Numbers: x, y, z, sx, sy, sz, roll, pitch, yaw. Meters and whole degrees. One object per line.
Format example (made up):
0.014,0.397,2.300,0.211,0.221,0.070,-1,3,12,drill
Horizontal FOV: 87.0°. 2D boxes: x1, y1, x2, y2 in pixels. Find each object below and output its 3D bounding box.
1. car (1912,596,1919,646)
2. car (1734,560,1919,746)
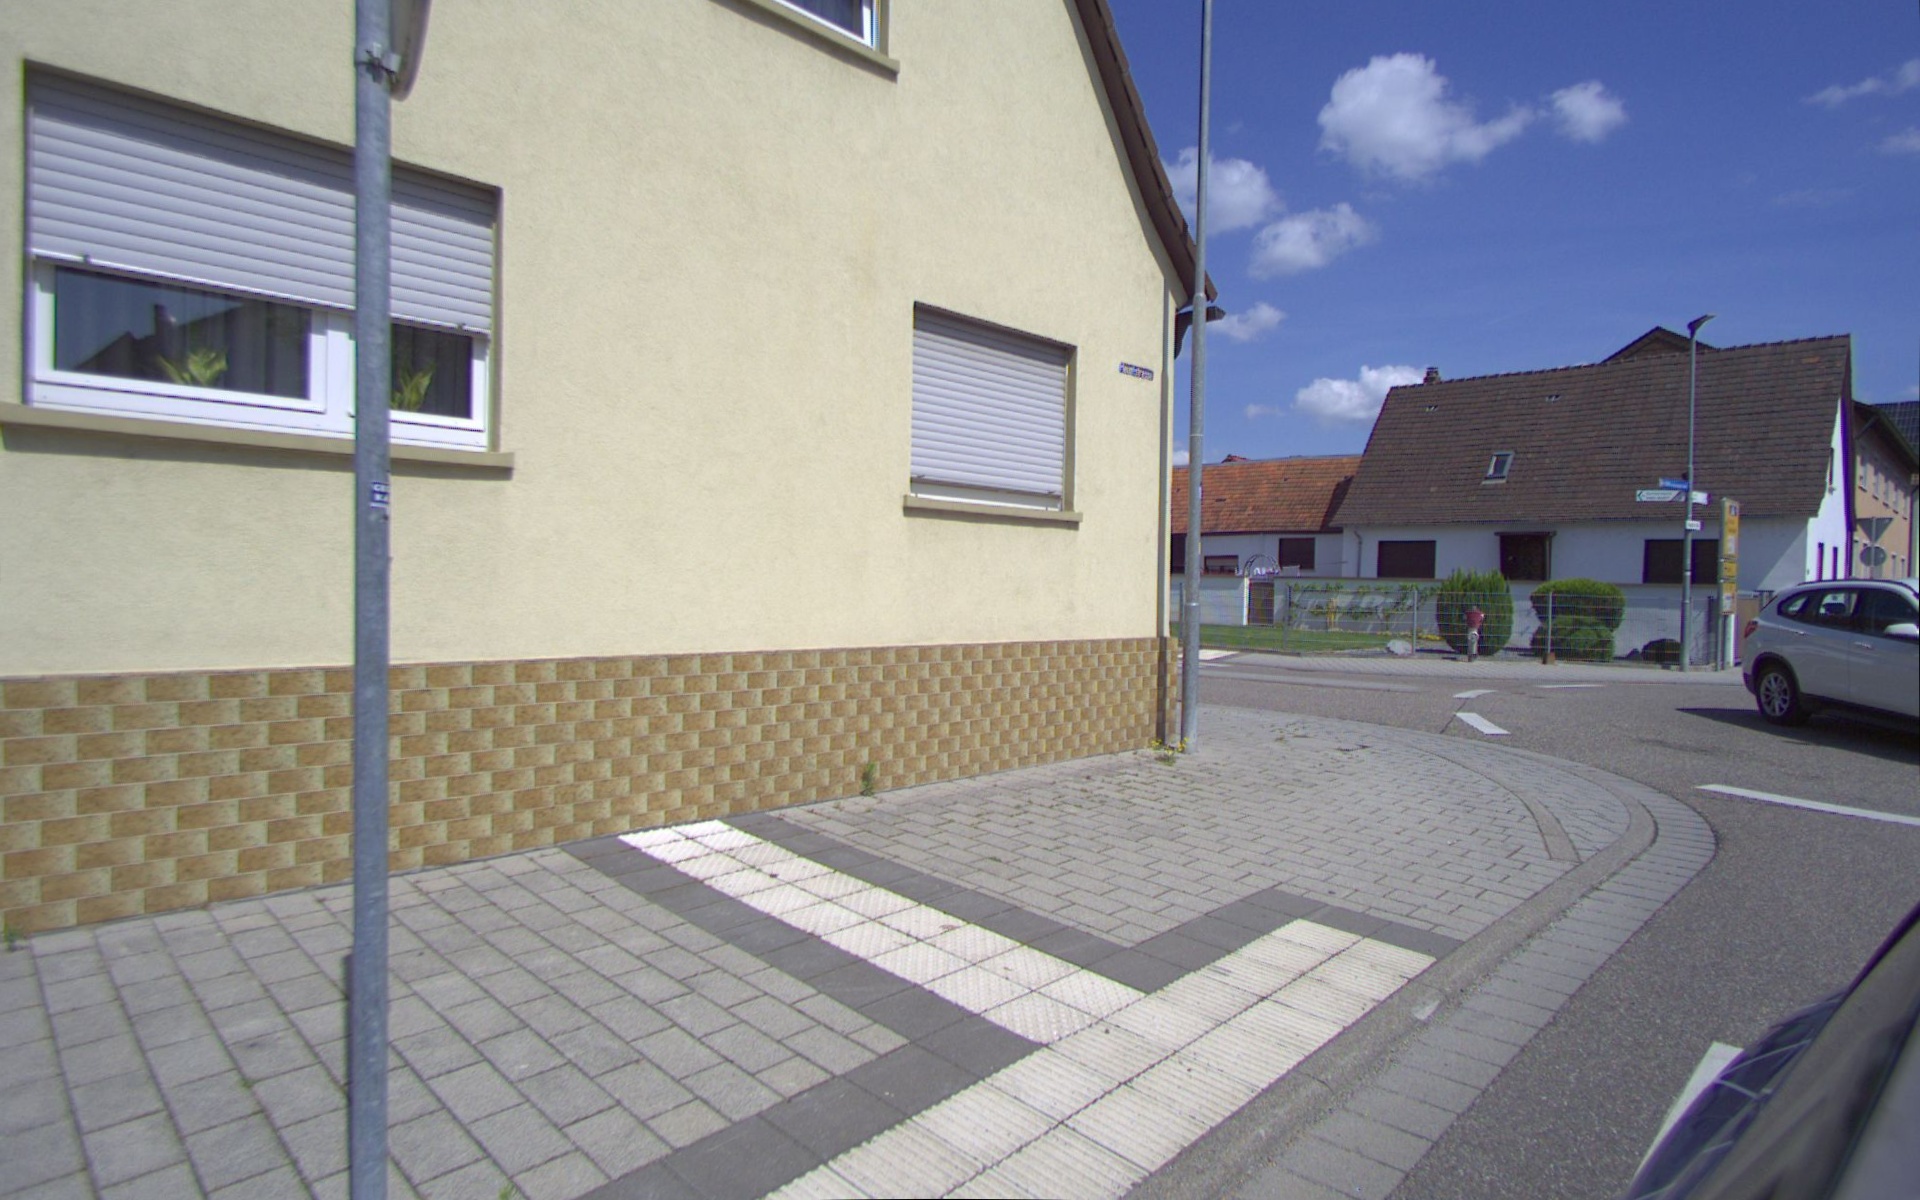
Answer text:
30.248,0.691,30.726,3.568,1.481,1.689,1,4,-43,car
9.607,0.471,9.526,1.816,1.666,4.363,1,1,9,car
